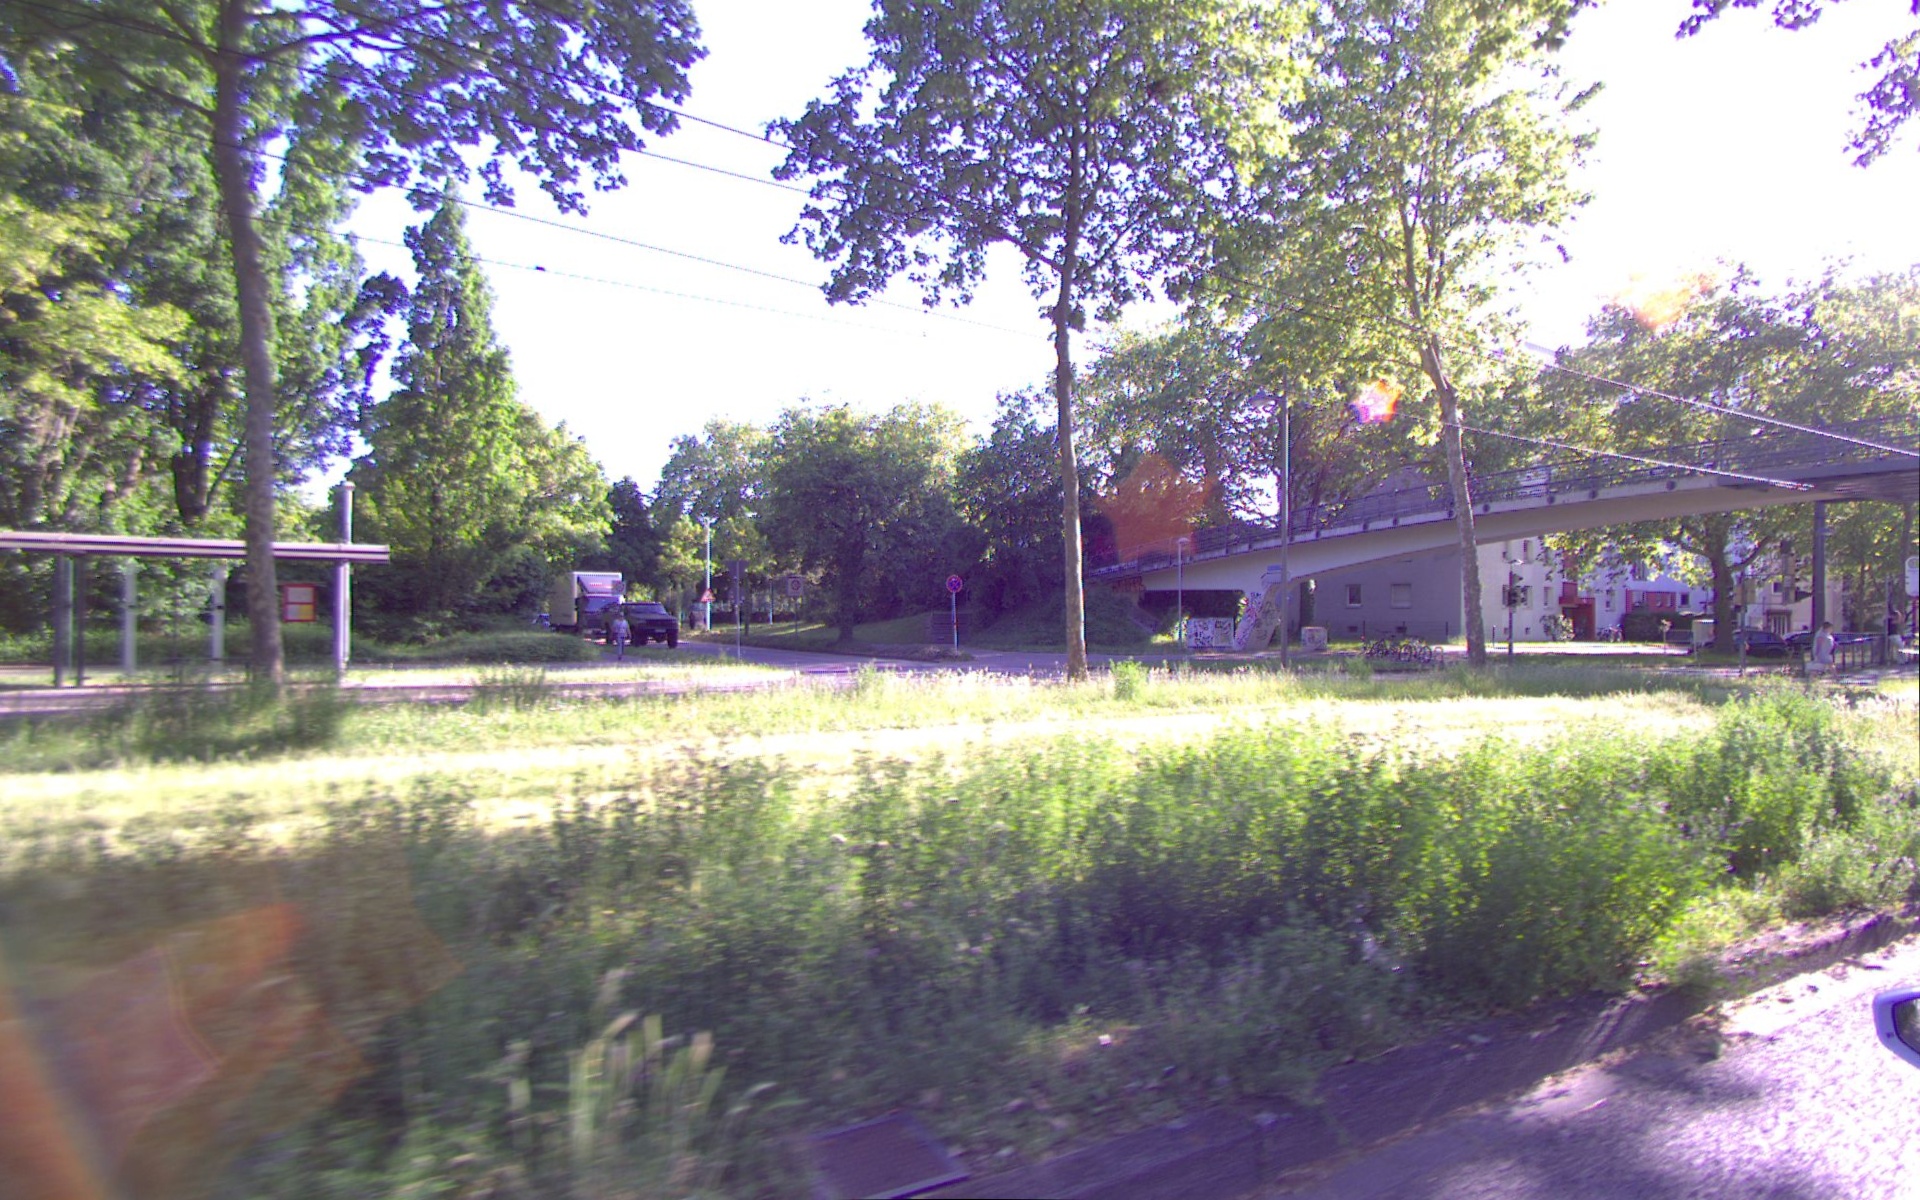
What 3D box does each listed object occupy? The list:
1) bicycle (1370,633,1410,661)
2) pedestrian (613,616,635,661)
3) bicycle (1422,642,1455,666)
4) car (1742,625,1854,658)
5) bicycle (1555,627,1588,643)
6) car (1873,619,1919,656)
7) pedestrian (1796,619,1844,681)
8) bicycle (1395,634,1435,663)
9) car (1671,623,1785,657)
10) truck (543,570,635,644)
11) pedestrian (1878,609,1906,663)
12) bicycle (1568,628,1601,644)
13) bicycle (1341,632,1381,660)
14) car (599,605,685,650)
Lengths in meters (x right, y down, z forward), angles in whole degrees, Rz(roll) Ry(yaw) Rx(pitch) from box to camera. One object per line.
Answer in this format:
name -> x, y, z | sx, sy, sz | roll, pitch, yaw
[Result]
bicycle -> 16.236, 1.755, 37.907 | 1.666, 1.022, 0.432 | 1, 1, -29
pedestrian -> -11.332, 1.299, 33.888 | 0.580, 1.511, 0.531 | 2, 0, -29
bicycle -> 16.630, 1.876, 34.878 | 1.160, 0.789, 0.432 | 1, 1, -29
car -> 43.618, 2.152, 52.373 | 4.119, 1.447, 1.699 | 2, 1, 23
bicycle -> 38.805, 2.225, 63.748 | 2.567, 0.940, 0.691 | 0, 1, -33
car -> 57.669, 2.266, 59.820 | 4.413, 2.091, 1.899 | 2, 1, 23
pedestrian -> 24.346, 1.396, 28.430 | 1.037, 1.696, 0.721 | 2, 0, -33
bicycle -> 16.499, 1.762, 36.411 | 1.666, 1.022, 0.432 | 1, 1, -29
car -> 37.737, 1.954, 49.505 | 4.119, 1.447, 1.699 | 2, 1, 23
truck -> -20.768, 0.424, 55.932 | 2.720, 3.800, 8.433 | 2, -1, -35
pedestrian -> 31.667, 1.207, 34.127 | 0.494, 1.794, 0.484 | 2, 0, 21
bicycle -> 39.195, 2.237, 63.009 | 2.567, 0.940, 0.691 | 0, 1, -33
bicycle -> 15.070, 1.717, 37.713 | 1.666, 1.022, 0.432 | 1, 1, -29
car -> -15.066, 1.266, 47.355 | 2.203, 1.974, 6.094 | 2, -1, -34
